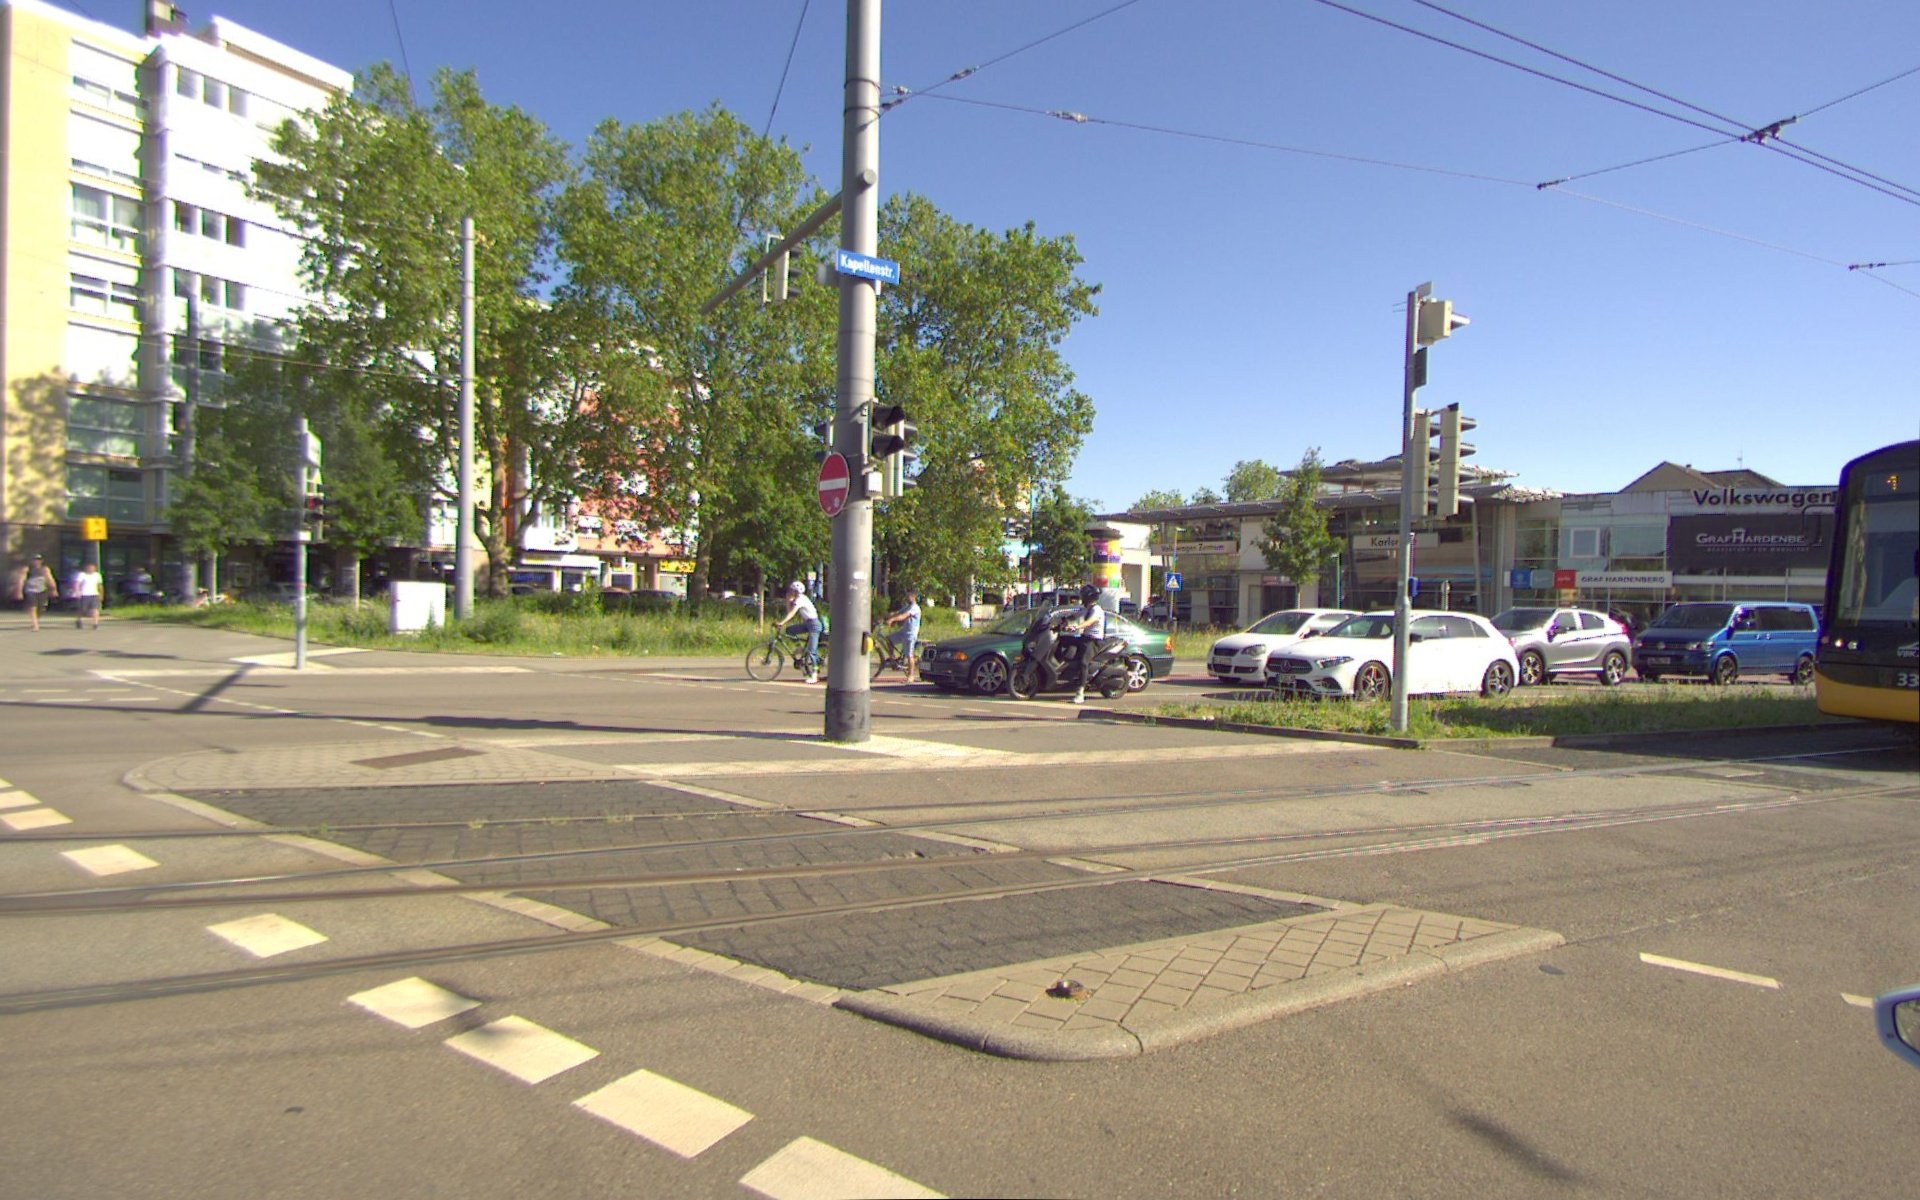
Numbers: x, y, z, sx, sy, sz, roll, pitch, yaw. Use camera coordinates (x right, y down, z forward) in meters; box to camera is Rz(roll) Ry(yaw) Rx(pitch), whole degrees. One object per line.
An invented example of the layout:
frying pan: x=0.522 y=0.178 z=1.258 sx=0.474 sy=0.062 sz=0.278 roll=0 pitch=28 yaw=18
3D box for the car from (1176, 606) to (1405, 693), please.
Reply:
car: x=6.298 y=0.936 z=19.151 sx=3.945 sy=1.451 sz=1.798 roll=2 pitch=2 yaw=-24

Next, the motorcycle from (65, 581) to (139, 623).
motorcycle: x=-27.524 y=0.051 z=32.292 sx=1.276 sy=1.193 sz=2.945 roll=2 pitch=2 yaw=-30

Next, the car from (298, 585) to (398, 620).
car: x=-26.766 y=0.096 z=43.924 sx=3.927 sy=1.407 sz=1.997 roll=1 pitch=1 yaw=28

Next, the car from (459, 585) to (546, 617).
car: x=-22.986 y=0.027 z=50.490 sx=3.927 sy=1.519 sz=1.997 roll=1 pitch=1 yaw=28

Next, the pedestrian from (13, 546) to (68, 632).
pedestrian: x=-22.720 y=-0.271 z=24.817 sx=0.844 sy=2.057 sz=0.865 roll=4 pitch=2 yaw=39

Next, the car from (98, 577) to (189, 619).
car: x=-31.725 y=-0.103 z=39.011 sx=3.934 sy=1.519 sz=1.737 roll=2 pitch=1 yaw=35

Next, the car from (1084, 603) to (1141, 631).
car: x=11.389 y=1.254 z=75.125 sx=1.980 sy=1.780 sz=3.960 roll=2 pitch=2 yaw=-35

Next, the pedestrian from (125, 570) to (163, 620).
pedestrian: x=-27.842 y=-0.178 z=34.284 sx=0.744 sy=1.643 sz=0.653 roll=3 pitch=2 yaw=14

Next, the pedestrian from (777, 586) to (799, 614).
pedestrian: x=-12.893 y=0.004 z=75.246 sx=1.087 sy=2.041 sz=1.177 roll=3 pitch=2 yaw=24

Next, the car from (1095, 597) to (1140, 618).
car: x=15.336 y=0.725 z=97.987 sx=3.957 sy=1.823 sz=1.982 roll=2 pitch=2 yaw=-33

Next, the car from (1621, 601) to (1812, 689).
car: x=18.009 y=1.060 z=23.924 sx=4.105 sy=1.959 sz=1.799 roll=2 pitch=-1 yaw=-23

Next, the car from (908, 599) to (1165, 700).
car: x=1.265 y=0.797 z=16.538 sx=3.916 sy=1.498 sz=1.645 roll=2 pitch=-1 yaw=-24

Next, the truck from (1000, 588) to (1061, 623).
truck: x=4.990 y=0.403 z=71.680 sx=1.982 sy=2.251 sz=4.170 roll=1 pitch=2 yaw=-38

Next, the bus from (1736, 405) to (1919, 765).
bus: x=15.675 y=-0.011 z=13.132 sx=13.310 sy=3.638 sz=2.833 roll=1 pitch=1 yaw=-25

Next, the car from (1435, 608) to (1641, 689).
car: x=12.550 y=1.046 z=21.799 sx=4.107 sy=1.599 sz=1.798 roll=2 pitch=-1 yaw=-24

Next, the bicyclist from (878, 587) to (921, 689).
bicyclist: x=-1.080 y=0.665 z=17.913 sx=0.593 sy=1.766 sz=0.572 roll=0 pitch=3 yaw=-24

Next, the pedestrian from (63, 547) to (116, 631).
pedestrian: x=-22.063 y=-0.279 z=25.453 sx=0.844 sy=2.057 sz=0.865 roll=4 pitch=2 yaw=39

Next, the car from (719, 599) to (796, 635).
car: x=-10.263 y=0.855 z=50.849 sx=3.805 sy=1.652 sz=1.988 roll=2 pitch=-1 yaw=45

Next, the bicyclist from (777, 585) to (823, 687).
bicyclist: x=-2.847 y=0.622 z=17.834 sx=0.668 sy=1.766 sz=0.572 roll=0 pitch=3 yaw=-24

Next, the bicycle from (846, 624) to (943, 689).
bicycle: x=-1.155 y=0.988 z=17.826 sx=1.632 sy=1.088 sz=0.536 roll=0 pitch=0 yaw=-25

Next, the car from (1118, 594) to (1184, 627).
car: x=13.028 y=0.724 z=68.650 sx=1.987 sy=2.041 sz=3.947 roll=1 pitch=2 yaw=-44

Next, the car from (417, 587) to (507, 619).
car: x=-24.074 y=0.116 z=48.536 sx=3.927 sy=1.407 sz=1.997 roll=1 pitch=1 yaw=28

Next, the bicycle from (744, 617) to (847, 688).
bicycle: x=-2.907 y=0.905 z=17.811 sx=1.729 sy=1.200 sz=0.536 roll=0 pitch=0 yaw=-25

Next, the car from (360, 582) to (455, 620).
car: x=-25.324 y=0.026 z=46.054 sx=3.927 sy=1.586 sz=1.997 roll=1 pitch=1 yaw=28

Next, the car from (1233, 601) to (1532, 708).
car: x=6.777 y=0.852 z=16.071 sx=4.478 sy=1.451 sz=1.798 roll=2 pitch=2 yaw=-24

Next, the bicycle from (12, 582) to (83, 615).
bicycle: x=-35.389 y=-0.058 z=38.970 sx=0.608 sy=1.233 sz=1.942 roll=4 pitch=2 yaw=34

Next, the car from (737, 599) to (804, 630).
car: x=-11.115 y=0.833 z=58.797 sx=3.805 sy=1.652 sz=1.988 roll=2 pitch=-1 yaw=45

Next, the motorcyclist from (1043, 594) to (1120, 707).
motorcyclist: x=1.777 y=0.732 z=14.722 sx=0.930 sy=1.600 sz=0.584 roll=2 pitch=-1 yaw=-23

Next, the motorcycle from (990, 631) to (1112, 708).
motorcycle: x=1.325 y=0.988 z=14.555 sx=1.722 sy=1.061 sz=0.517 roll=1 pitch=0 yaw=-23
